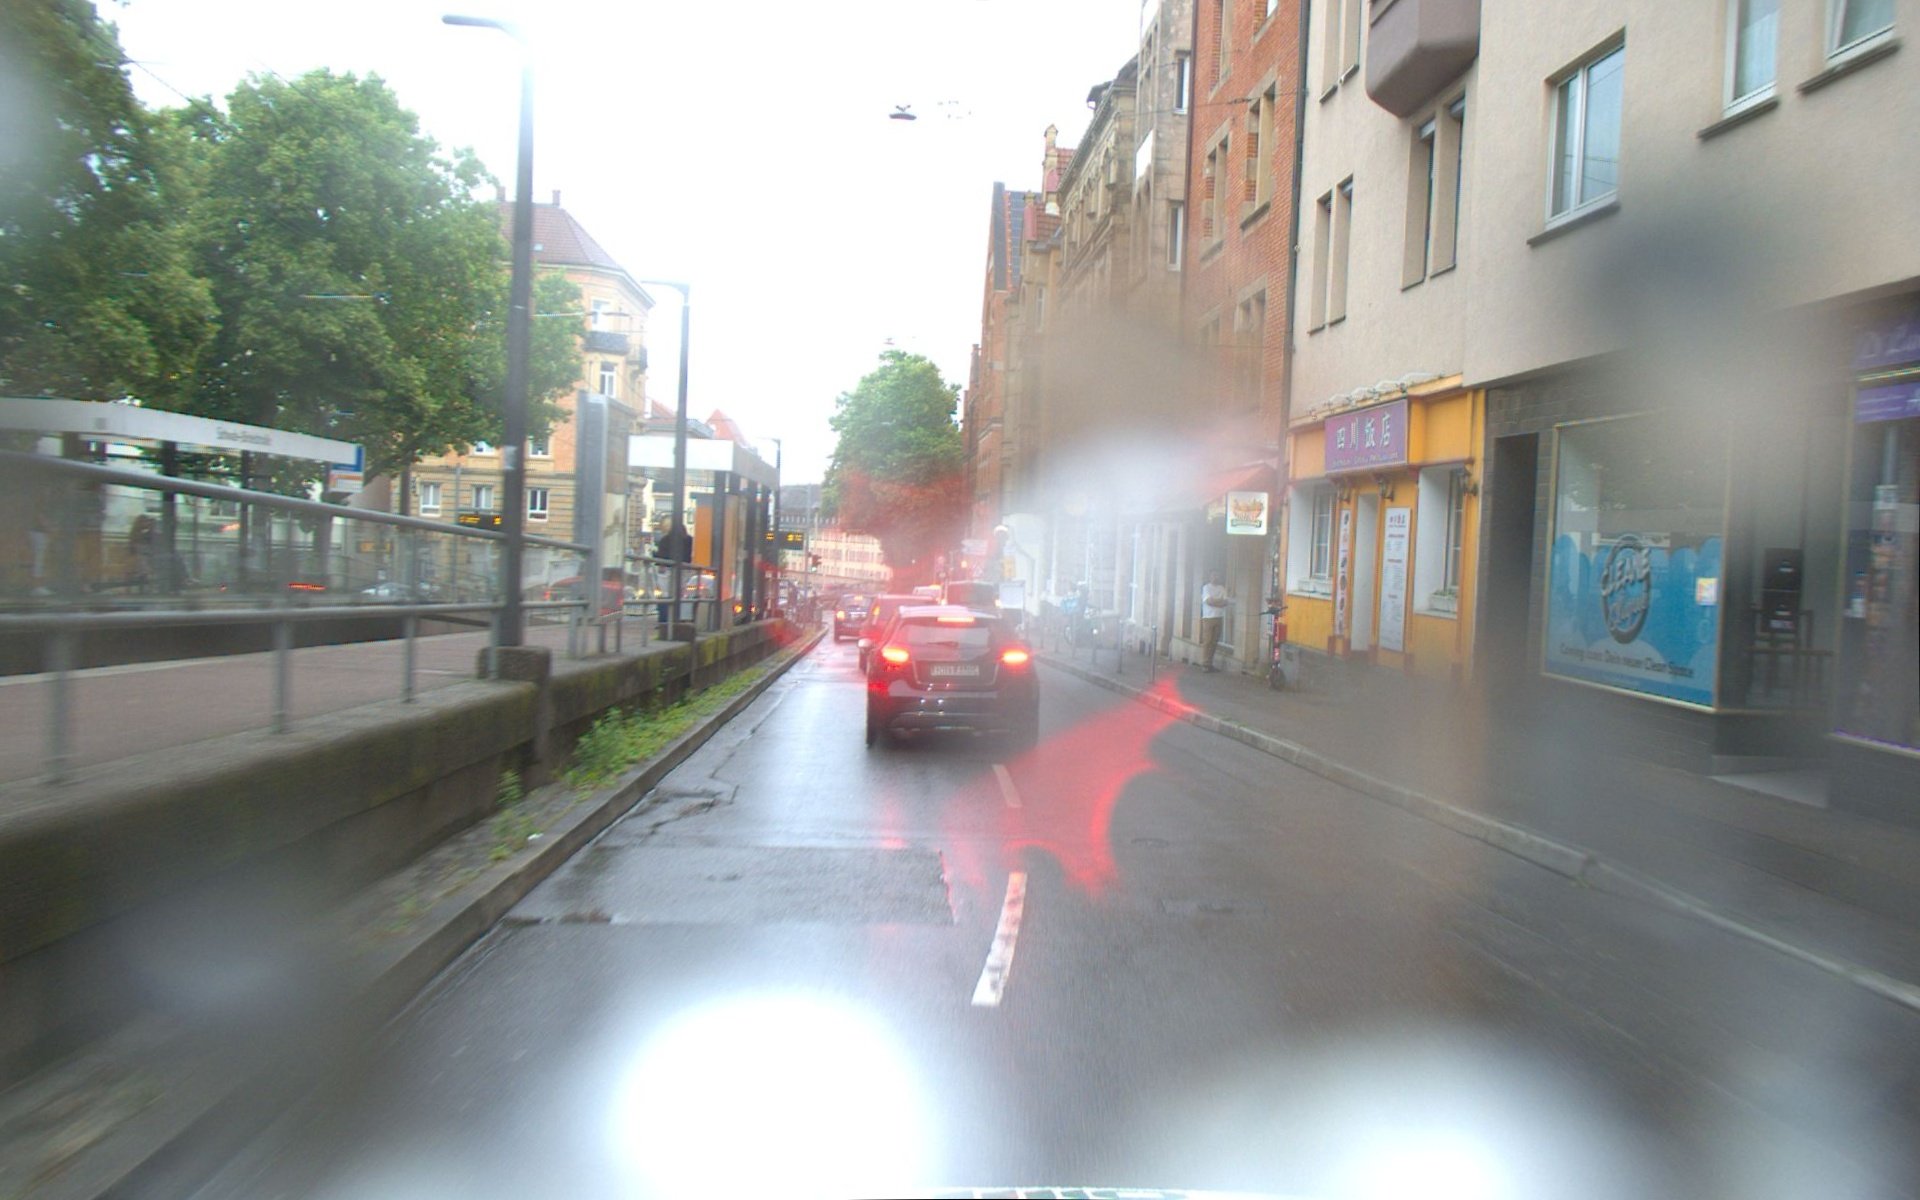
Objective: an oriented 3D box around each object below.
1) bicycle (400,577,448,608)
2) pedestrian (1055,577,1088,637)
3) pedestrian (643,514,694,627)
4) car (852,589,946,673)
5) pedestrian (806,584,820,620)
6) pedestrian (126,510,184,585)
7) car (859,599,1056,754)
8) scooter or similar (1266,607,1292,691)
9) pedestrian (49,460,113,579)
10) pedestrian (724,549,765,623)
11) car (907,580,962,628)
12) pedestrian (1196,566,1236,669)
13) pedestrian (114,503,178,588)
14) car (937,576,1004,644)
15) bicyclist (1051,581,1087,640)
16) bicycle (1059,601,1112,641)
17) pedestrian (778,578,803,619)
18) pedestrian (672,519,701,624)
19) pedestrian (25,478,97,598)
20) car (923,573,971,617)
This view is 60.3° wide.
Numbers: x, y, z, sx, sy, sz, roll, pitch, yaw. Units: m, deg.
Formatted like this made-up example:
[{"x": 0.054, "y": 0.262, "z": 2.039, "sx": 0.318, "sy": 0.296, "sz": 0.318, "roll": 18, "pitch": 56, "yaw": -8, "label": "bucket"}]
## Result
[{"x": -22.418, "y": -0.317, "z": 69.183, "sx": 1.839, "sy": 1.216, "sz": 0.516, "roll": 2, "pitch": 0, "yaw": -14, "label": "bicycle"}, {"x": 3.323, "y": 0.206, "z": 49.242, "sx": 0.672, "sy": 1.784, "sz": 0.834, "roll": 1, "pitch": 0, "yaw": 30, "label": "pedestrian"}, {"x": -4.265, "y": -0.428, "z": 24.228, "sx": 0.485, "sy": 1.633, "sz": 0.637, "roll": 2, "pitch": 0, "yaw": 13, "label": "pedestrian"}, {"x": -1.247, "y": 0.562, "z": 32.643, "sx": 1.647, "sy": 1.515, "sz": 3.609, "roll": 1, "pitch": 0, "yaw": -5, "label": "car"}, {"x": -6.491, "y": 0.072, "z": 72.786, "sx": 0.522, "sy": 1.557, "sz": 0.435, "roll": 2, "pitch": 0, "yaw": -11, "label": "pedestrian"}, {"x": -13.957, "y": -0.910, "z": 28.693, "sx": 0.690, "sy": 1.262, "sz": 0.563, "roll": 3, "pitch": 1, "yaw": -5, "label": "pedestrian"}, {"x": -0.094, "y": 0.739, "z": 17.939, "sx": 1.857, "sy": 1.414, "sz": 3.998, "roll": 2, "pitch": 0, "yaw": -2, "label": "car"}, {"x": 4.867, "y": 0.734, "z": 25.278, "sx": 0.252, "sy": 1.243, "sz": 1.195, "roll": 2, "pitch": 0, "yaw": 6, "label": "scooter or similar"}, {"x": -13.336, "y": -1.214, "z": 25.111, "sx": 0.551, "sy": 1.745, "sz": 0.705, "roll": 3, "pitch": 1, "yaw": -5, "label": "pedestrian"}, {"x": -3.751, "y": -0.240, "z": 28.808, "sx": 0.601, "sy": 1.248, "sz": 0.507, "roll": 2, "pitch": 0, "yaw": 0, "label": "pedestrian"}, {"x": -1.084, "y": 0.132, "z": 68.869, "sx": 1.896, "sy": 1.863, "sz": 4.276, "roll": 2, "pitch": 1, "yaw": -6, "label": "car"}, {"x": 4.688, "y": 0.323, "z": 30.340, "sx": 0.566, "sy": 1.862, "sz": 0.563, "roll": -1, "pitch": -1, "yaw": -6, "label": "pedestrian"}, {"x": -13.788, "y": -0.918, "z": 28.018, "sx": 0.762, "sy": 1.386, "sz": 0.563, "roll": 3, "pitch": 1, "yaw": -5, "label": "pedestrian"}, {"x": 0.298, "y": 0.293, "z": 52.459, "sx": 1.882, "sy": 1.969, "sz": 4.683, "roll": 2, "pitch": 0, "yaw": -2, "label": "car"}, {"x": 3.123, "y": 0.296, "z": 47.346, "sx": 0.843, "sy": 1.686, "sz": 0.621, "roll": 1, "pitch": 0, "yaw": -44, "label": "bicyclist"}, {"x": 3.573, "y": 0.600, "z": 47.081, "sx": 1.674, "sy": 1.135, "sz": 0.458, "roll": 1, "pitch": 0, "yaw": -41, "label": "bicycle"}, {"x": -7.470, "y": -0.060, "z": 72.812, "sx": 0.728, "sy": 1.754, "sz": 0.736, "roll": 2, "pitch": 0, "yaw": 44, "label": "pedestrian"}, {"x": -4.331, "y": -0.453, "z": 26.185, "sx": 0.401, "sy": 1.633, "sz": 0.449, "roll": 2, "pitch": 0, "yaw": -9, "label": "pedestrian"}, {"x": -12.853, "y": -0.879, "z": 23.650, "sx": 0.673, "sy": 1.669, "sz": 0.563, "roll": 3, "pitch": 1, "yaw": -5, "label": "pedestrian"}, {"x": -0.512, "y": -0.191, "z": 61.524, "sx": 1.679, "sy": 1.494, "sz": 4.280, "roll": 2, "pitch": 0, "yaw": -1, "label": "car"}]
